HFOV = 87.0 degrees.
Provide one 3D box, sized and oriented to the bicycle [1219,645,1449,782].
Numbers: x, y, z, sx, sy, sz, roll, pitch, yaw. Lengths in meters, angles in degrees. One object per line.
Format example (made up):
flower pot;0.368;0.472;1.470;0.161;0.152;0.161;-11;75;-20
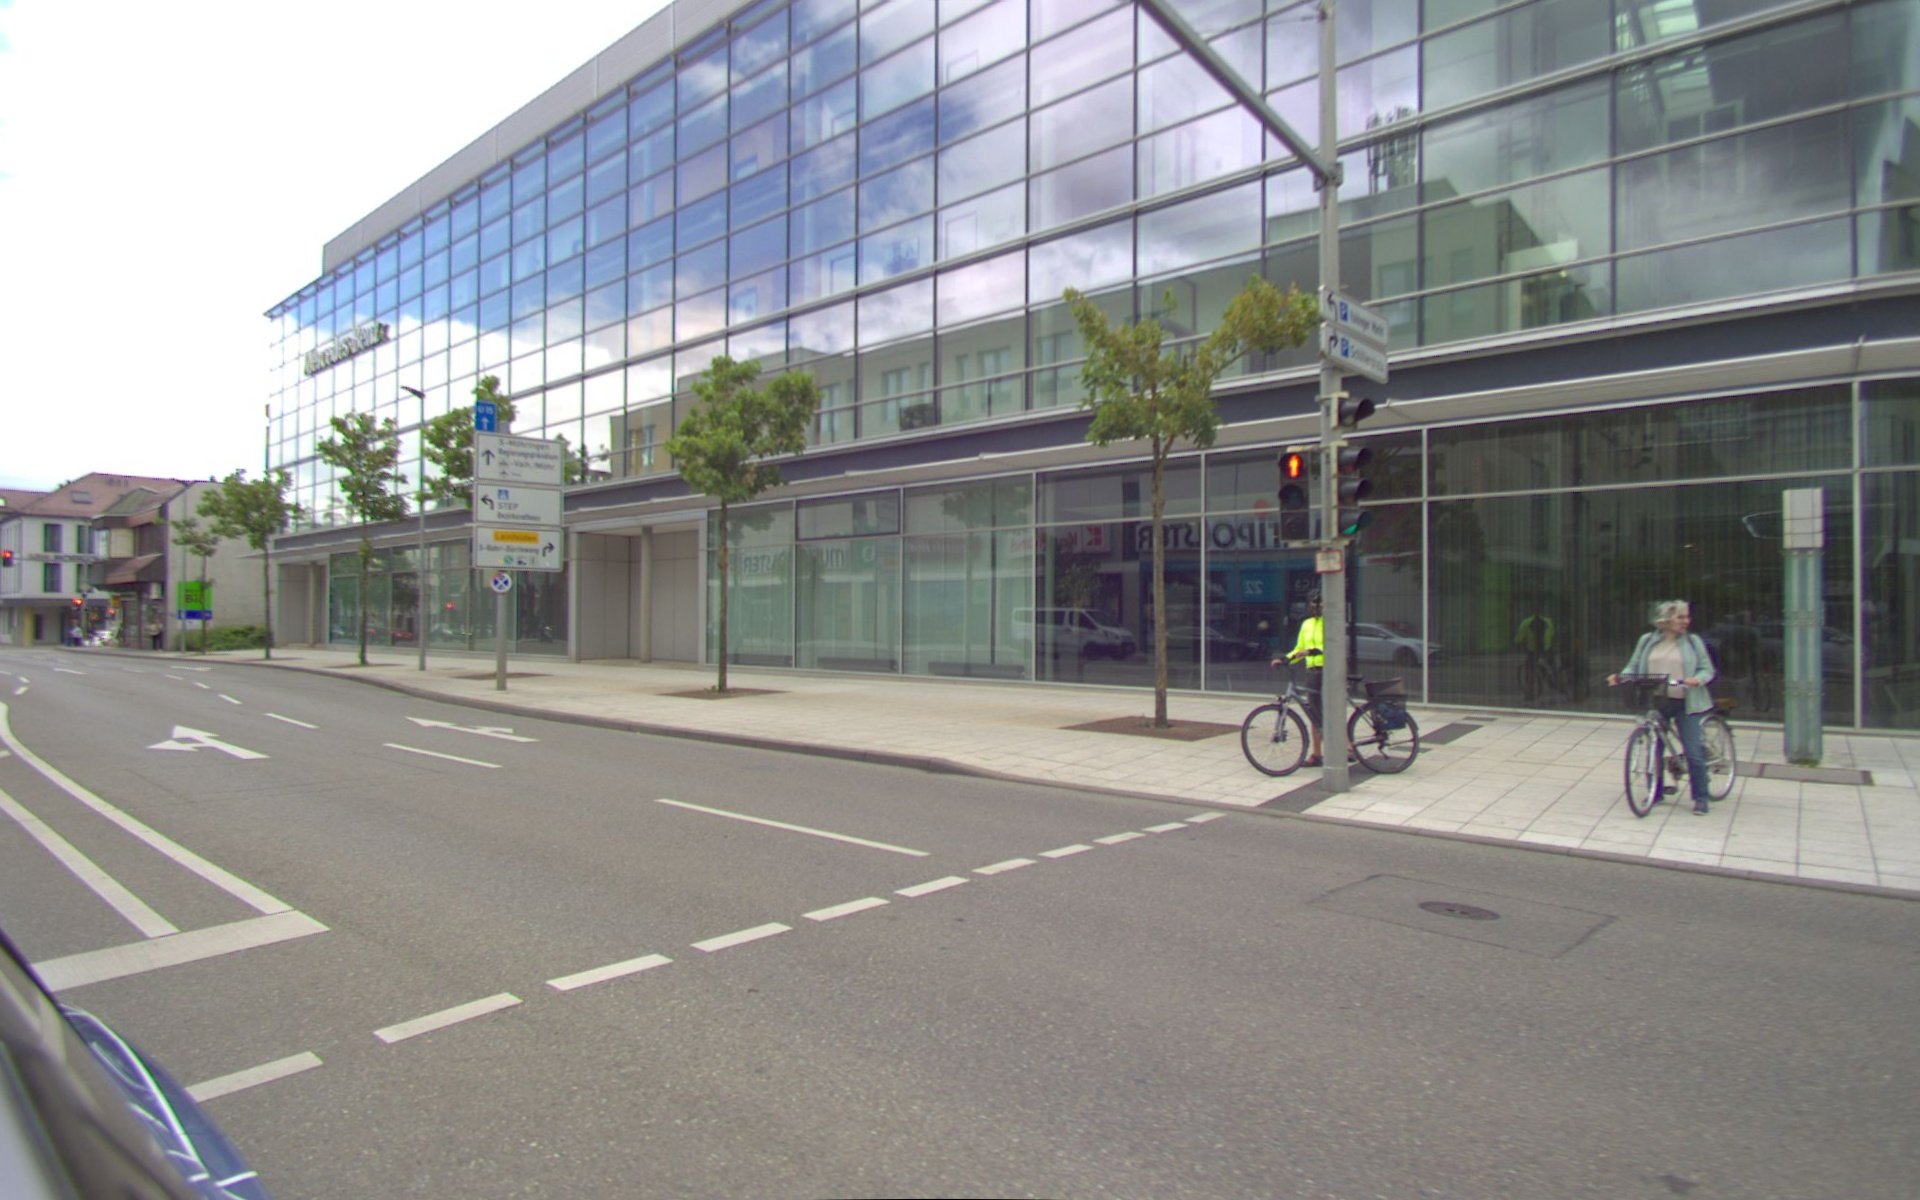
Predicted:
bicycle;3.739;1.116;10.206;2.000;1.215;0.748;-2;0;-5

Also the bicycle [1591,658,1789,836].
bicycle;5.890;1.106;8.121;1.973;1.139;0.640;-2;0;-34

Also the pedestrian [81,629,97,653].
pedestrian;-57.311;2.704;66.609;0.577;1.527;0.552;0;-2;8

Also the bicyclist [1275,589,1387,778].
bicyclist;3.728;0.809;10.221;0.762;1.813;0.748;-2;0;-5

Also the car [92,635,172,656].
car;-58.860;3.204;72.018;3.932;1.478;1.944;0;-2;-16

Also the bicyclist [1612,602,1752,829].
bicyclist;5.693;0.859;7.982;0.771;1.661;0.640;-2;0;-34

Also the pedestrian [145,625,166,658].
pedestrian;-40.024;2.062;50.362;0.693;1.636;0.693;-2;-2;40
